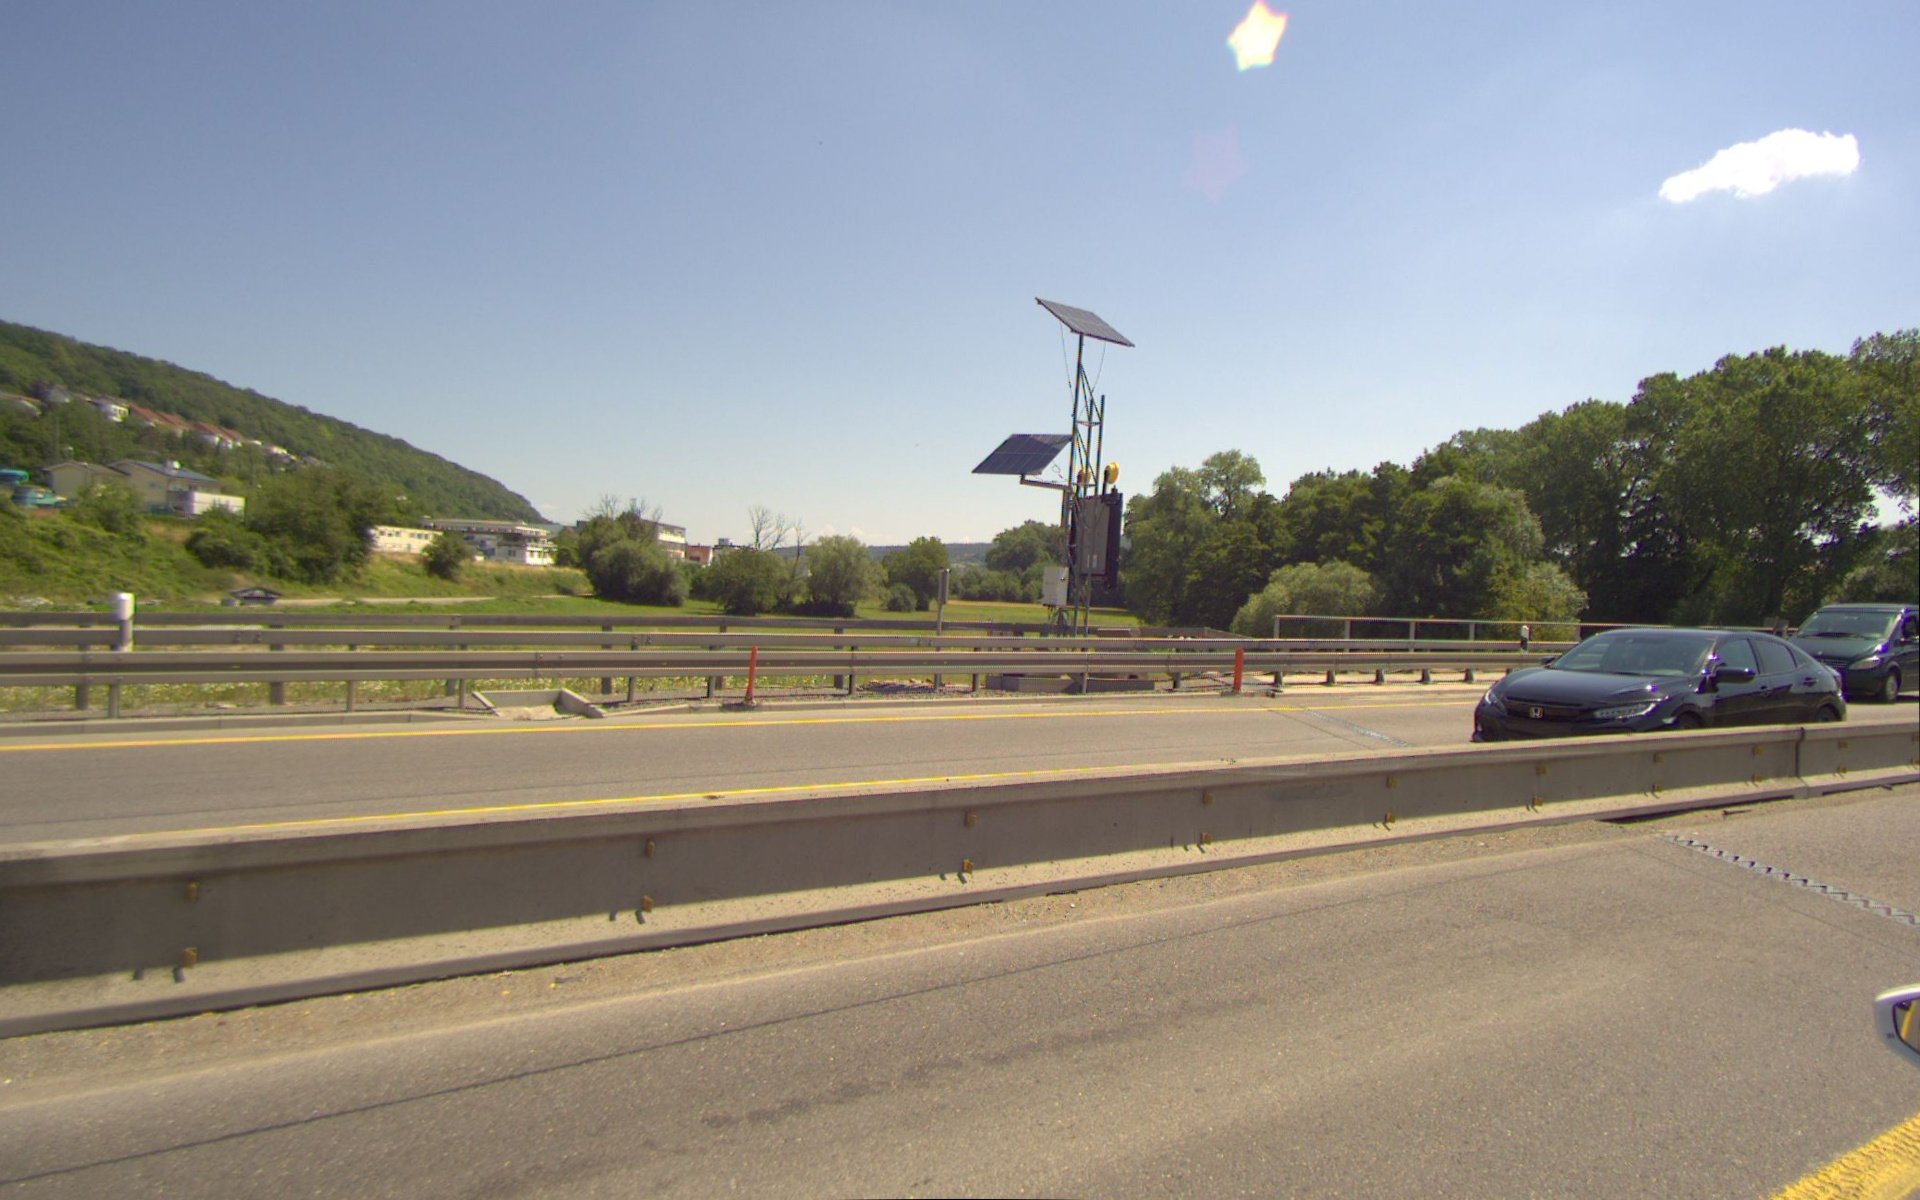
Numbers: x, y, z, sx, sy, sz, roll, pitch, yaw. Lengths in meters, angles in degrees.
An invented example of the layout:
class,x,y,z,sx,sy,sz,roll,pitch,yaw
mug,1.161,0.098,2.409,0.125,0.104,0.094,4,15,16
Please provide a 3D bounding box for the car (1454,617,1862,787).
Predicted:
class,x,y,z,sx,sy,sz,roll,pitch,yaw
car,7.327,0.948,10.449,4.385,1.383,1.662,2,1,-29

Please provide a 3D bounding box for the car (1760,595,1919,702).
class,x,y,z,sx,sy,sz,roll,pitch,yaw
car,19.037,0.971,20.963,5.002,1.969,1.812,2,1,-29
